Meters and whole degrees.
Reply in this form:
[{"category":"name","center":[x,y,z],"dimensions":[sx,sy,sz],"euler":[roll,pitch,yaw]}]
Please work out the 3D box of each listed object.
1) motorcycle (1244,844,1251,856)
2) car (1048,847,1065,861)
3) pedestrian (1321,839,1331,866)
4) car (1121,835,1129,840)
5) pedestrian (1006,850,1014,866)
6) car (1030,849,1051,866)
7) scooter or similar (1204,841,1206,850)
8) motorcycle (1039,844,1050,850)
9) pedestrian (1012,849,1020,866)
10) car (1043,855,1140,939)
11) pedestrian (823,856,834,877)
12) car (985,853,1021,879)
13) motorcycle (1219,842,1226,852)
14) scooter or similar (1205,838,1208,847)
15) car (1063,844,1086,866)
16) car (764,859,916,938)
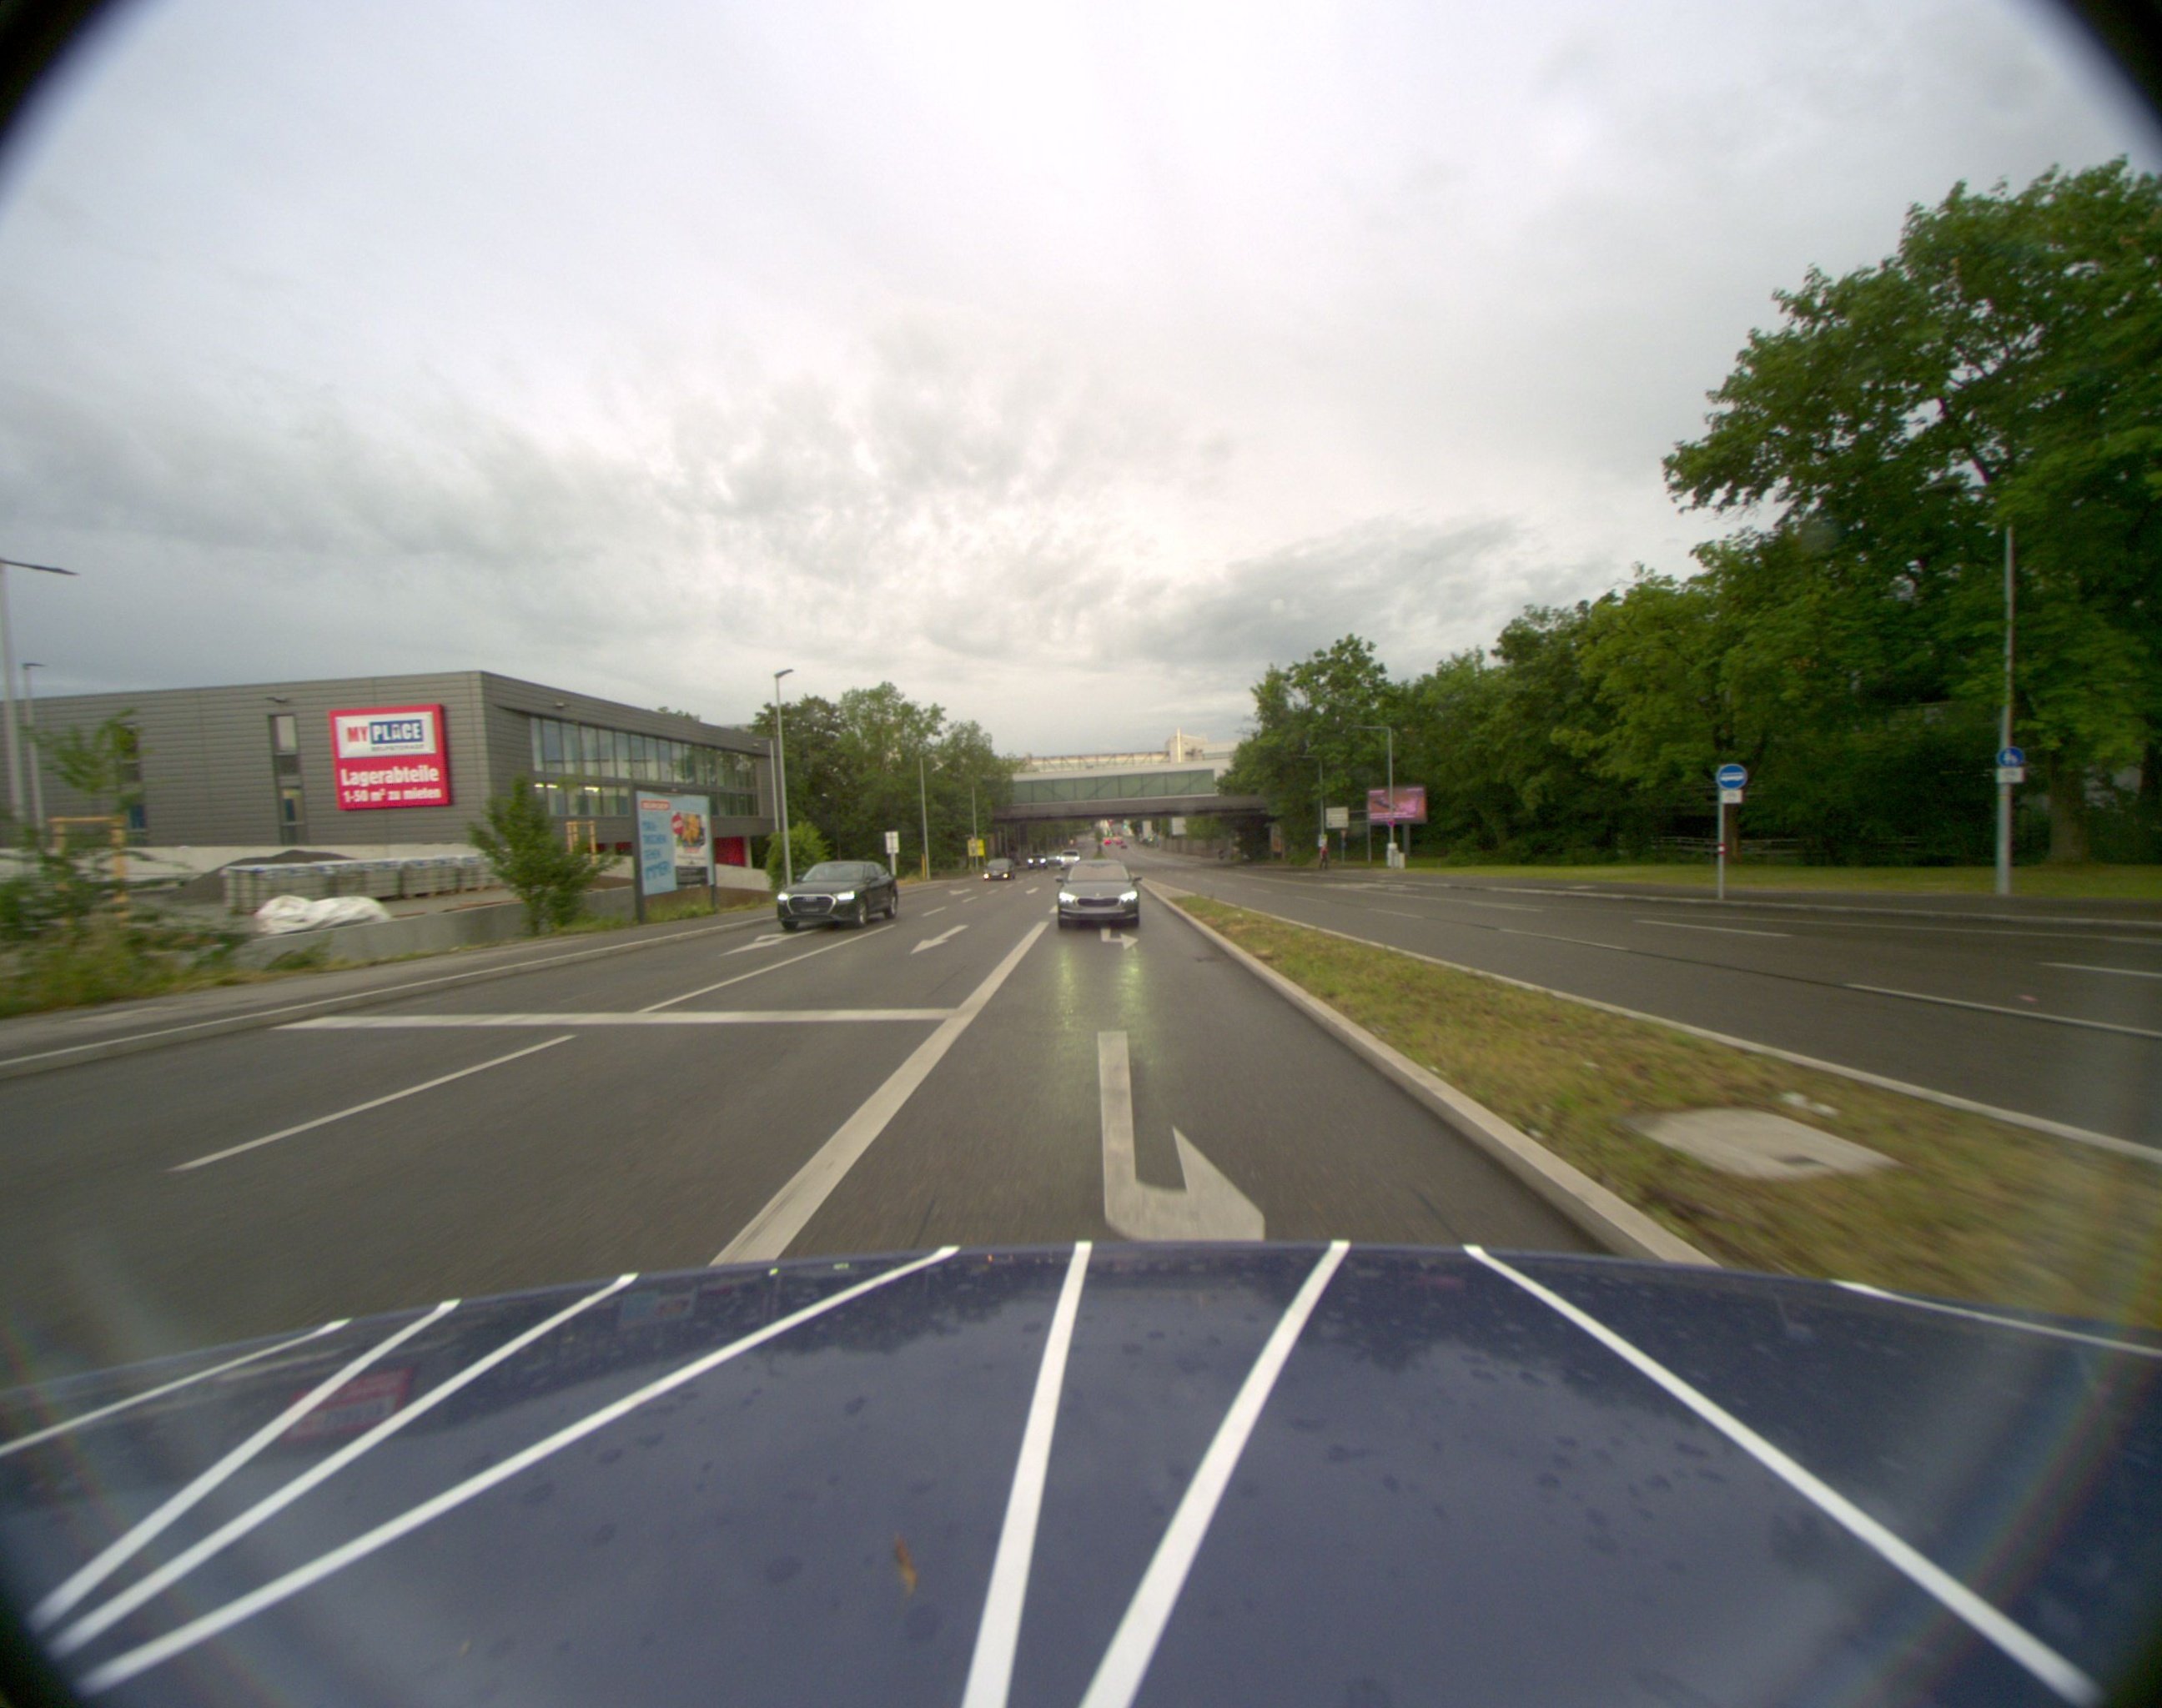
[{"category":"motorcycle","center":[17.446,-0.411,79.774],"dimensions":[0.469,1.152,1.932],"euler":[-2,1,5]},{"category":"car","center":[-3.038,-0.032,95.582],"dimensions":[1.820,1.571,4.331],"euler":[-3,2,2]},{"category":"pedestrian","center":[16.847,-0.132,52.203],"dimensions":[0.520,1.805,0.800],"euler":[-3,2,12]},{"category":"car","center":[12.988,-4.904,224.491],"dimensions":[2.069,1.354,4.755],"euler":[-2,1,0]},{"category":"pedestrian","center":[-7.516,0.439,80.111],"dimensions":[0.651,1.587,0.579],"euler":[-1,2,13]},{"category":"car","center":[-4.273,0.357,80.474],"dimensions":[1.825,1.581,4.331],"euler":[-3,2,2]},{"category":"scooter or similar","center":[18.221,-1.246,111.648],"dimensions":[0.312,1.211,1.308],"euler":[-2,2,6]},{"category":"motorcycle","center":[-7.378,-1.441,153.619],"dimensions":[2.011,1.266,0.442],"euler":[-1,2,14]},{"category":"pedestrian","center":[-6.835,0.346,79.731],"dimensions":[0.612,1.711,0.892],"euler":[-1,2,12]},{"category":"car","center":[0.252,0.827,16.615],"dimensions":[1.819,1.536,4.063],"euler":[-1,1,2]},{"category":"pedestrian","center":[-23.139,1.151,69.734],"dimensions":[0.584,1.805,0.602],"euler":[-2,2,30]},{"category":"car","center":[-5.248,0.791,51.685],"dimensions":[1.749,1.422,4.515],"euler":[-3,2,2]},{"category":"motorcycle","center":[17.761,-0.840,95.440],"dimensions":[0.470,1.198,1.996],"euler":[-2,1,1]},{"category":"scooter or similar","center":[18.830,-1.719,113.898],"dimensions":[0.312,1.211,1.309],"euler":[-1,2,13]},{"category":"car","center":[-0.654,0.069,75.425],"dimensions":[2.035,1.920,4.331],"euler":[-3,2,2]},{"category":"car","center":[-5.715,0.962,18.909],"dimensions":[1.819,1.536,5.608],"euler":[-1,1,2]}]
